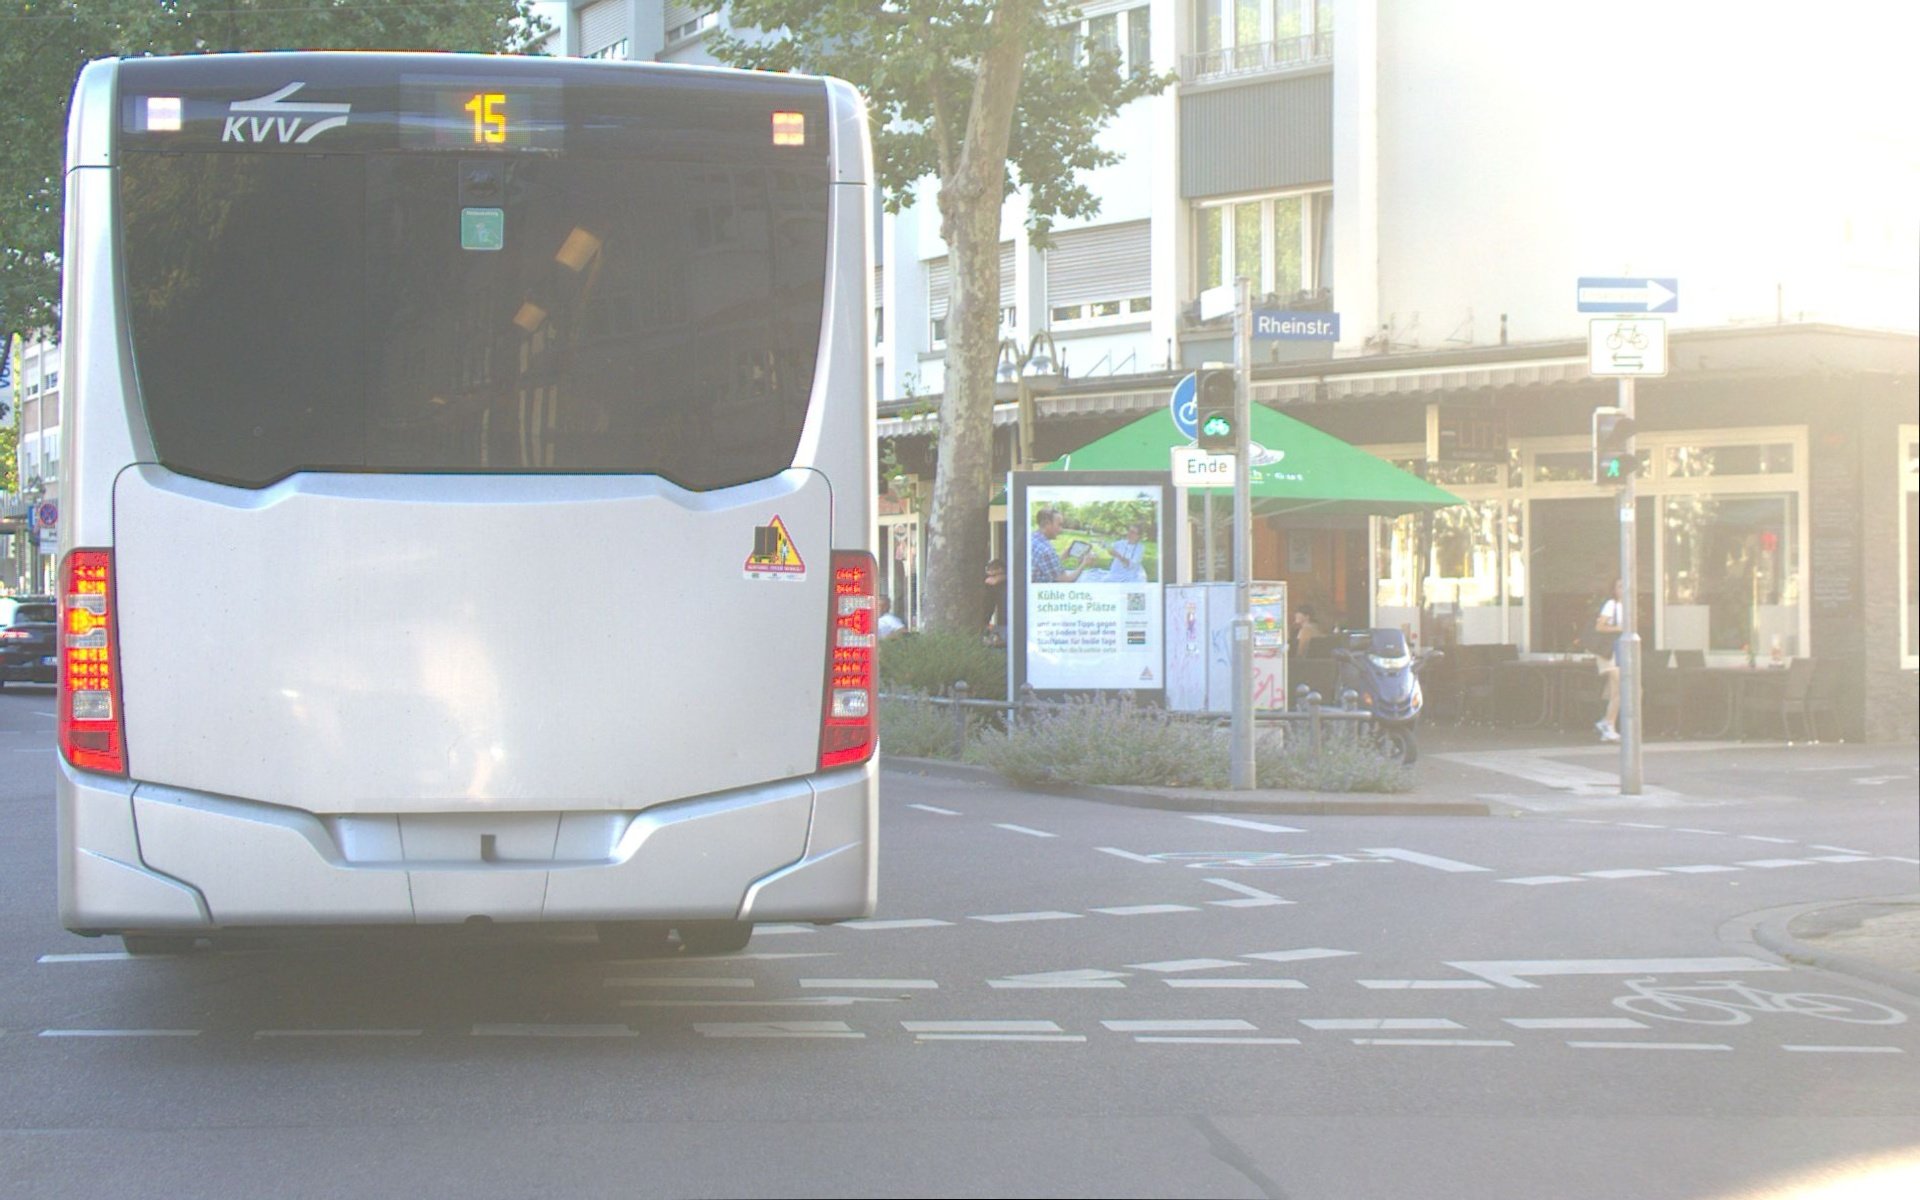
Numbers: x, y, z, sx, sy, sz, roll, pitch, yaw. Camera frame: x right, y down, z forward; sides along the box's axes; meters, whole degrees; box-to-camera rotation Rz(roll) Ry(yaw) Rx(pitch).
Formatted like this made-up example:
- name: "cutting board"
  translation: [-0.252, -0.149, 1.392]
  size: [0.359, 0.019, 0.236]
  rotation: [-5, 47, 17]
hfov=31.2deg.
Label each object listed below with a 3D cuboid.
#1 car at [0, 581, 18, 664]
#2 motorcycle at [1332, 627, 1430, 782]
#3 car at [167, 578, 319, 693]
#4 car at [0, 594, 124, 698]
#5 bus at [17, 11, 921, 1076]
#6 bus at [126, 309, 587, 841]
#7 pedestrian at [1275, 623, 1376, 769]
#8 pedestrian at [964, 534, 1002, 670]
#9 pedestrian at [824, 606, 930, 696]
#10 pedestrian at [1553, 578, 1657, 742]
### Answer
- name: "car"
  translation: [-18.222, 0.395, 62.054]
  size: [1.755, 1.459, 4.001]
  rotation: [0, 0, -24]
- name: "motorcycle"
  translation: [3.281, 0.797, 26.864]
  size: [0.570, 1.154, 1.460]
  rotation: [2, 0, 1]
- name: "car"
  translation: [-10.627, 0.500, 50.812]
  size: [1.759, 1.622, 3.613]
  rotation: [0, 0, -19]
- name: "car"
  translation: [-13.371, 0.640, 50.361]
  size: [1.755, 1.459, 4.001]
  rotation: [0, 0, -20]
- name: "bus"
  translation: [-2.469, -0.153, 15.233]
  size: [2.657, 3.088, 10.218]
  rotation: [0, 0, -12]
- name: "bus"
  translation: [-4.581, -0.132, 25.244]
  size: [2.657, 3.088, 10.218]
  rotation: [0, 0, -12]
- name: "pedestrian"
  translation: [3.194, 0.833, 30.074]
  size: [0.550, 1.239, 0.732]
  rotation: [2, 0, -22]
- name: "pedestrian"
  translation: [0.292, 0.021, 43.714]
  size: [0.357, 1.712, 0.309]
  rotation: [2, 0, -17]
- name: "pedestrian"
  translation: [-1.131, 0.687, 46.731]
  size: [1.177, 1.193, 0.926]
  rotation: [0, 0, -24]
- name: "pedestrian"
  translation: [6.237, 0.577, 33.249]
  size: [0.602, 1.543, 0.716]
  rotation: [2, 0, -41]
